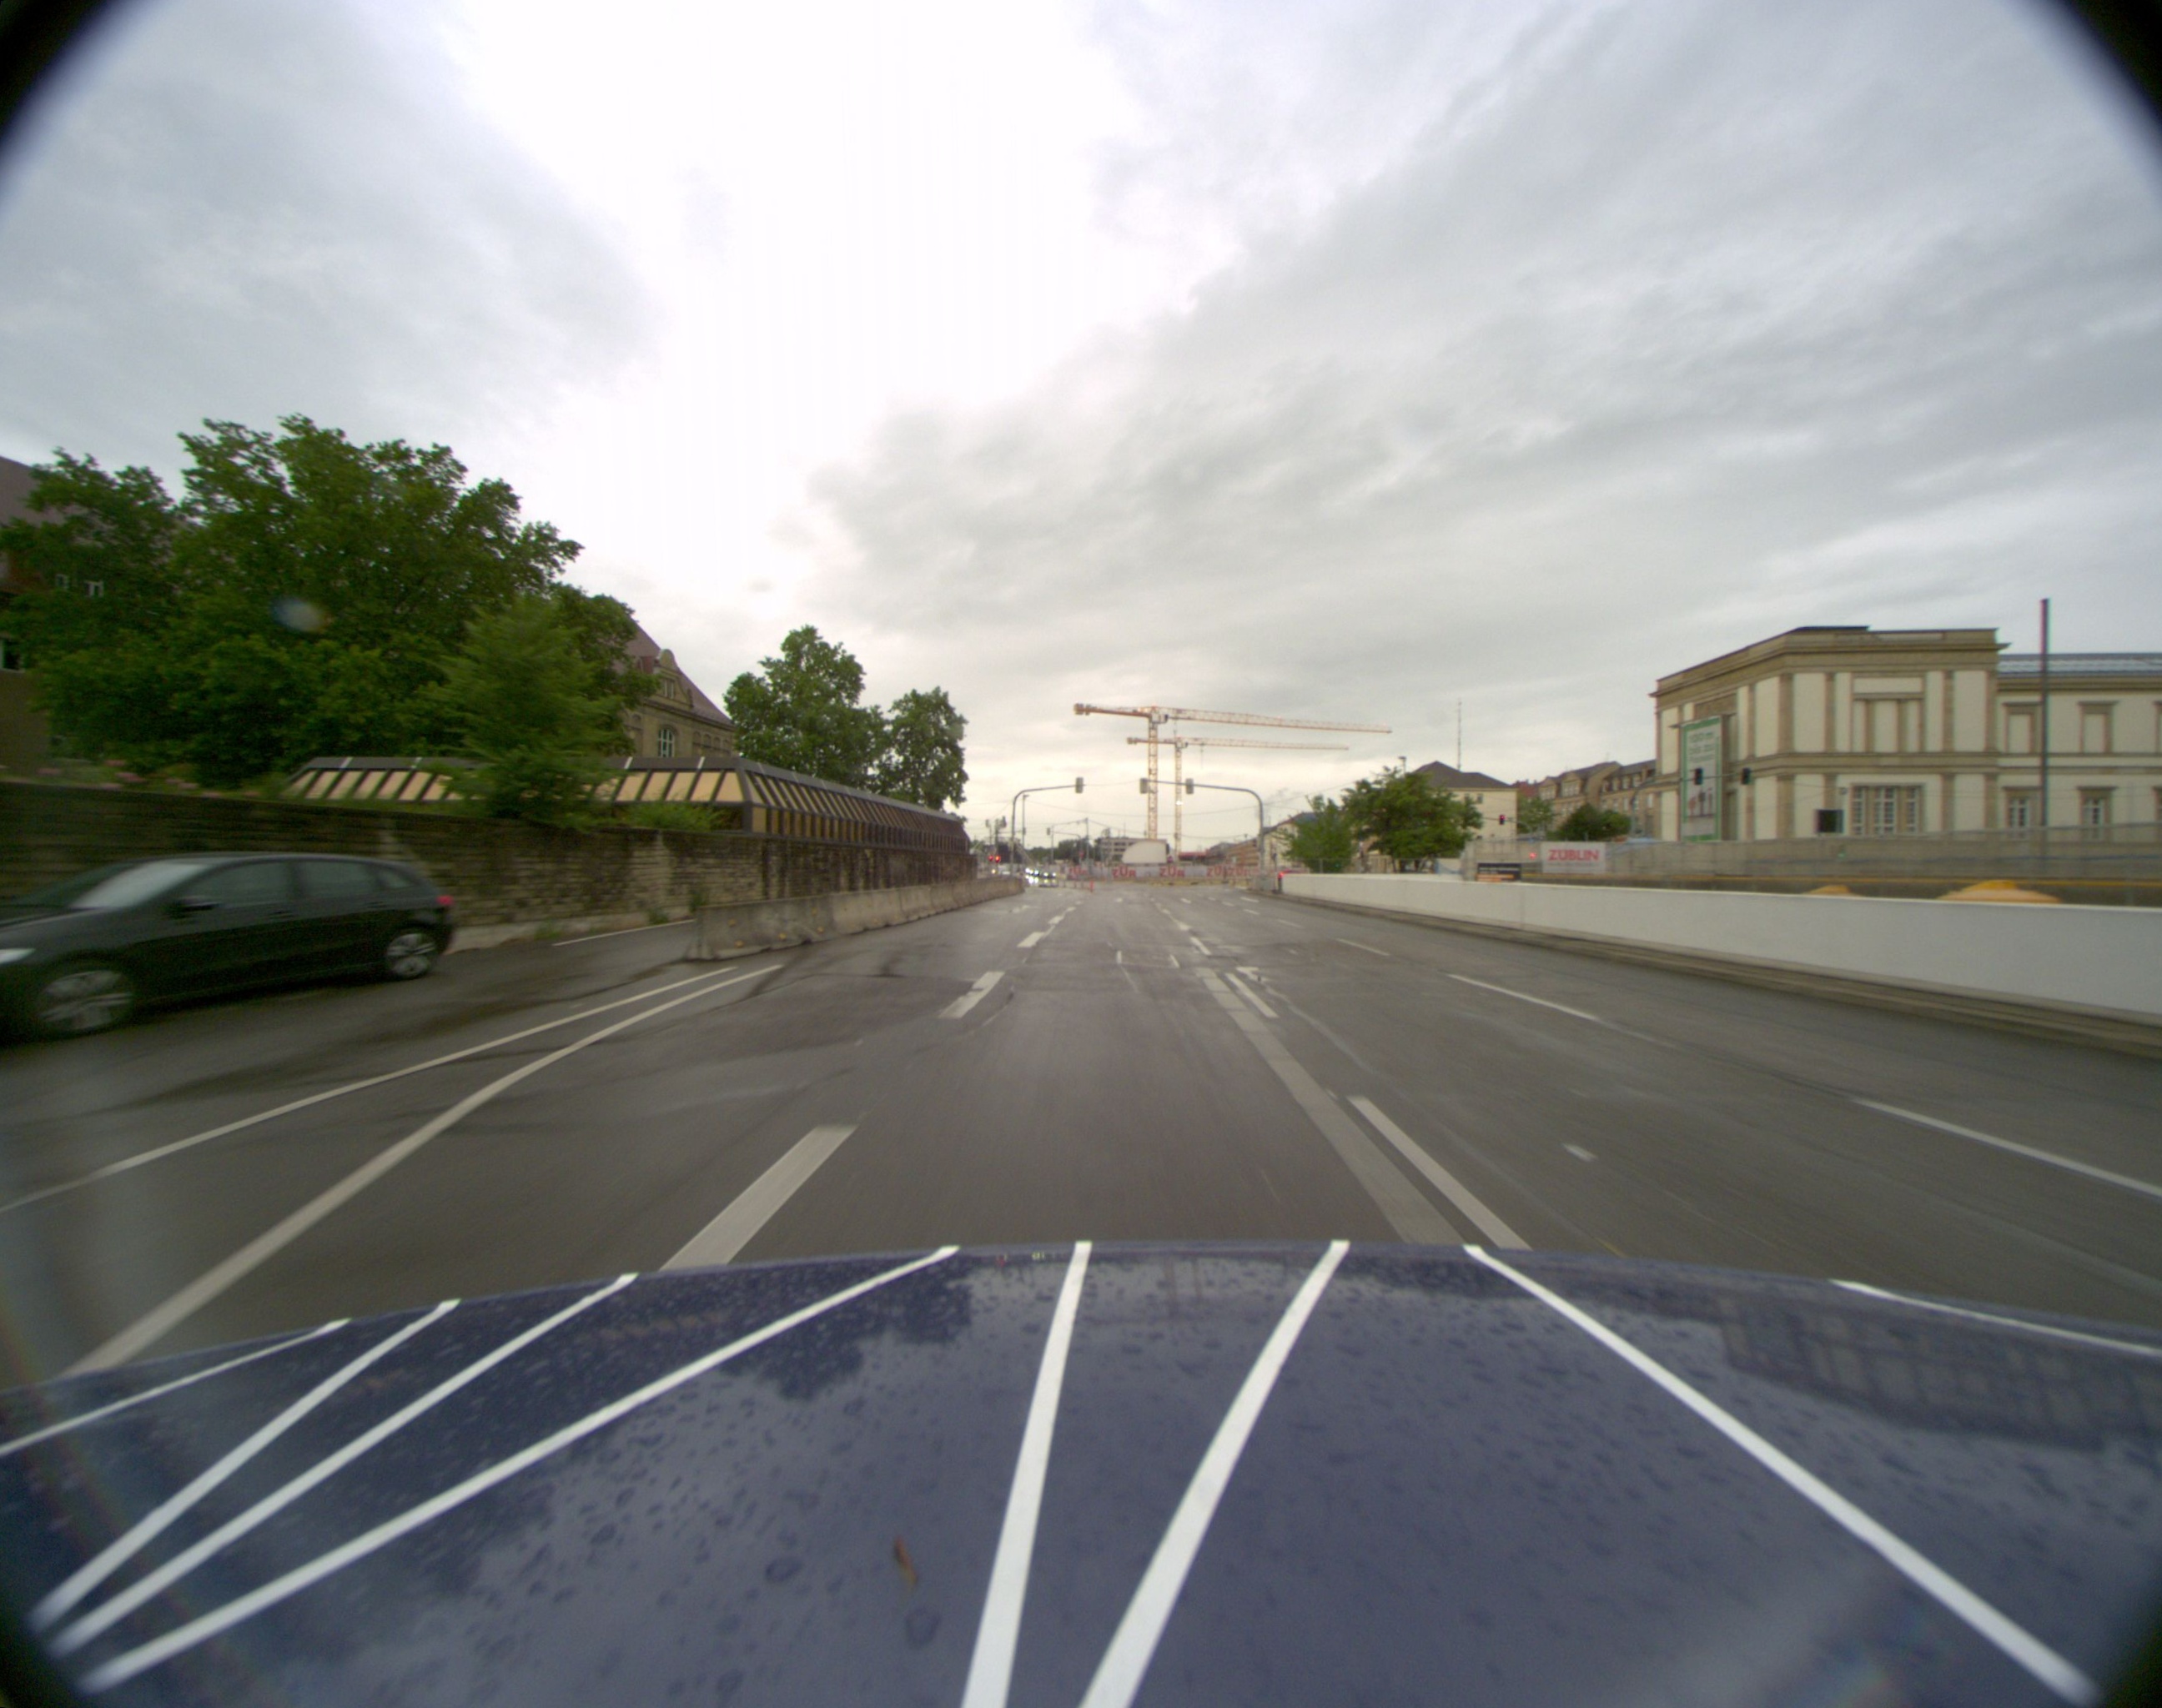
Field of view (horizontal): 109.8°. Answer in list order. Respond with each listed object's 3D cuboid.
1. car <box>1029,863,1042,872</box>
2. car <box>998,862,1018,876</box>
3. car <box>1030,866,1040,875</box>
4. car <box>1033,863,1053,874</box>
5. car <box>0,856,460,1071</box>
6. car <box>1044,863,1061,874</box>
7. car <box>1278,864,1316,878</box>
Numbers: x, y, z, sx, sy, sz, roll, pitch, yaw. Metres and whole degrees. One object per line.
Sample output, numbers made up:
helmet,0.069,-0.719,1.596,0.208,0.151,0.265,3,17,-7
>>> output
car,-8.255,2.440,136.642,2.000,1.548,4.522,-1,-1,-7
car,-11.185,2.247,115.799,2.001,2.001,4.417,-1,-1,-18
car,-7.878,2.826,129.894,1.650,1.172,4.286,-1,2,-4
car,-6.152,2.269,122.594,2.001,1.707,4.417,-1,-1,-18
car,-9.135,0.870,7.678,1.808,1.543,4.327,2,2,8
car,-4.435,2.233,117.112,1.862,1.556,3.797,-2,0,-14
car,25.839,1.976,91.018,4.001,1.543,1.689,-2,0,-11
